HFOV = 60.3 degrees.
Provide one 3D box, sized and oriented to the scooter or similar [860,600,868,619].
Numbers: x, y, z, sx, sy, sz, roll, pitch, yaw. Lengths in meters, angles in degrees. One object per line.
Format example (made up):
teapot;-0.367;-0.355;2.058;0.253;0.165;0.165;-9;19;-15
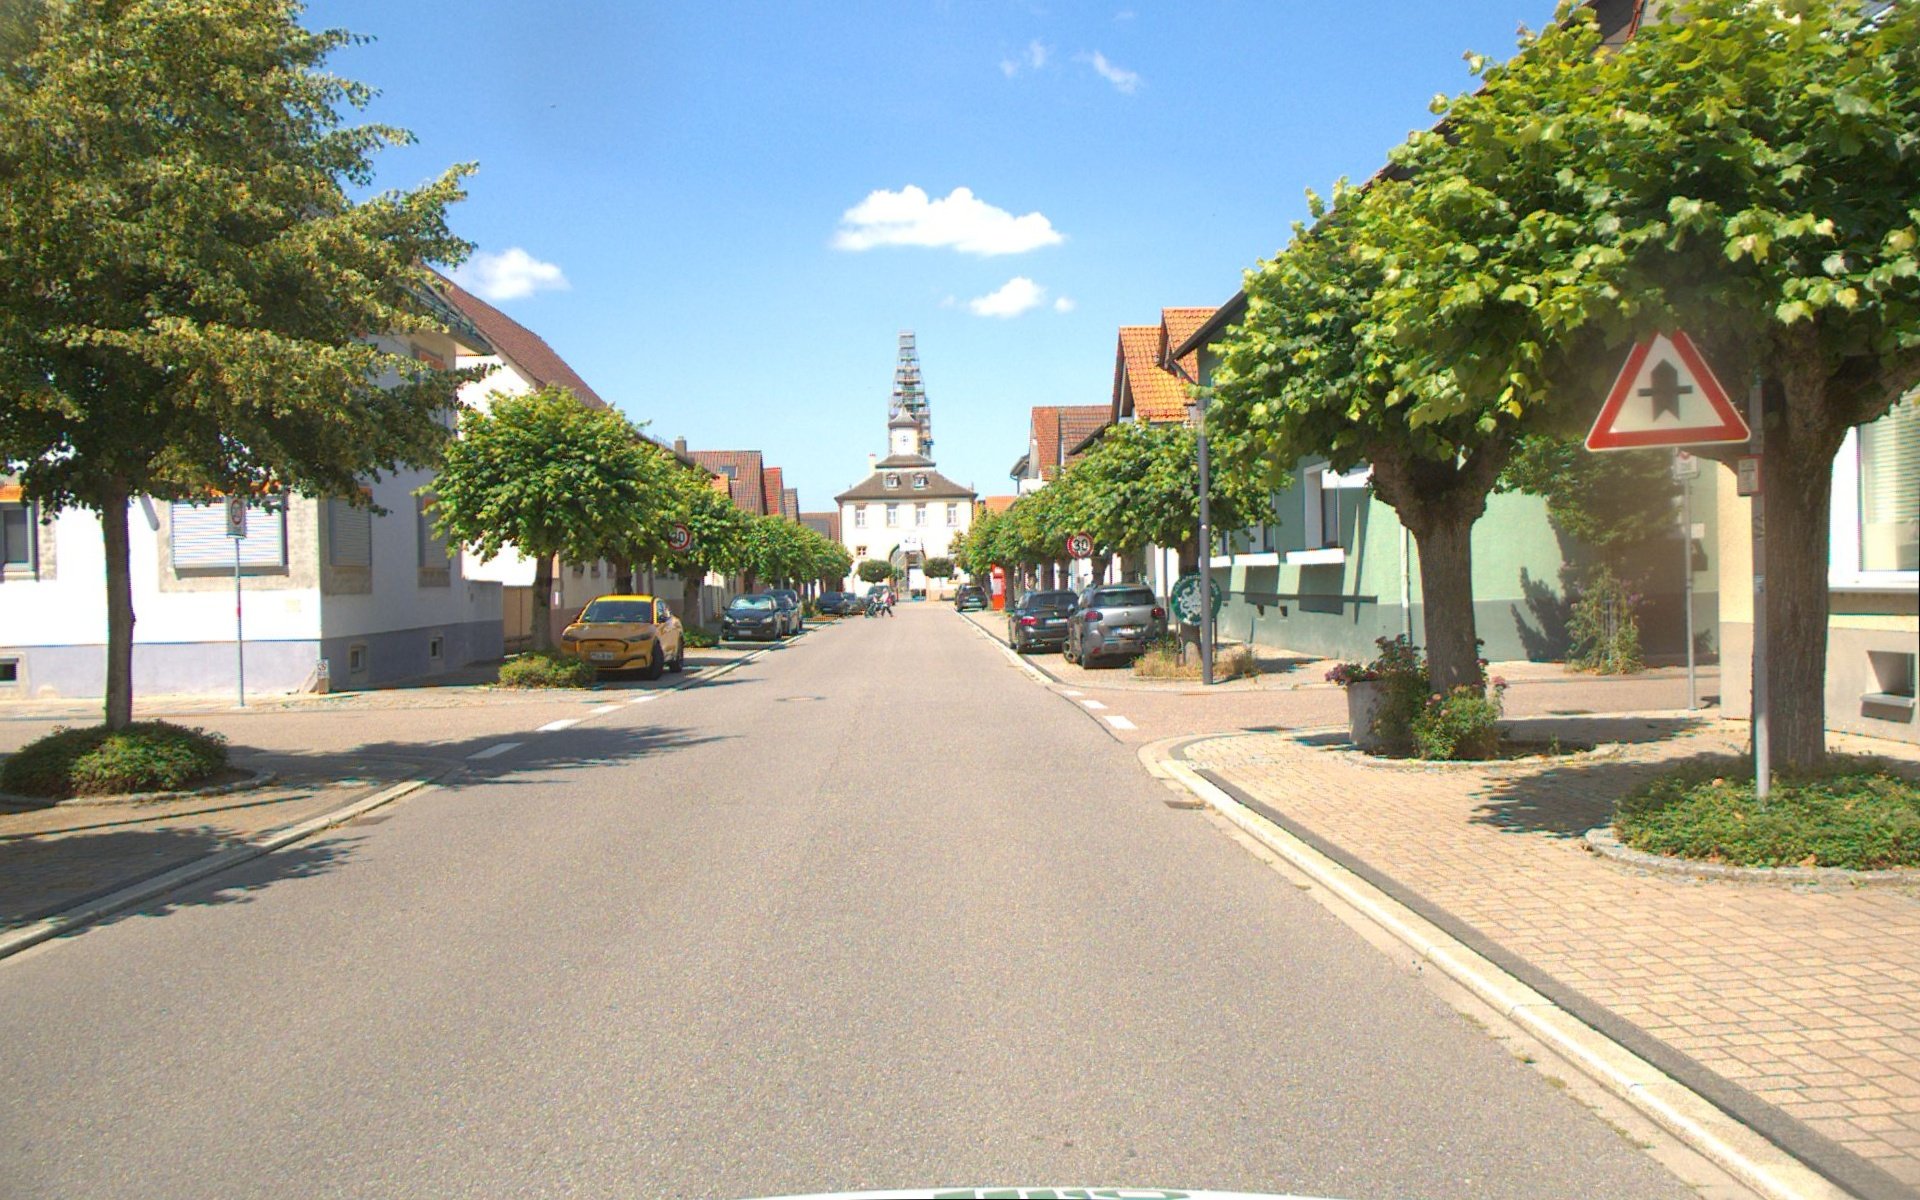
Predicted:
scooter or similar;-5.187;0.534;89.505;0.323;1.020;0.240;-2;0;36

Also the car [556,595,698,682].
car;-6.654;0.717;33.540;1.953;1.639;4.688;0;0;-1

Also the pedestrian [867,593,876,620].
pedestrian;-4.784;0.338;89.389;0.351;1.427;0.319;-2;0;36

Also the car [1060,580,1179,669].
car;3.148;0.454;33.398;1.801;1.636;3.998;-1;0;-3

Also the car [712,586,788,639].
car;-6.906;0.381;54.868;1.953;1.639;4.688;0;1;-1

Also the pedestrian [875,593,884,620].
pedestrian;-4.382;0.343;89.707;0.351;1.427;0.319;-2;0;36

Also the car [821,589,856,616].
car;-7.615;0.189;103.670;1.953;1.639;3.854;0;0;-1

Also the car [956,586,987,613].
car;0.713;-0.029;104.111;1.800;1.582;4.313;-3;0;-1

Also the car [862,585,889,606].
car;-6.820;-0.330;133.132;1.955;1.639;4.500;0;0;-6

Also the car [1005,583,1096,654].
car;2.191;0.417;41.063;1.800;1.582;4.312;-3;0;-2

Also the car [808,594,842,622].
car;-7.961;0.469;97.915;1.722;1.582;4.019;-1;0;-1

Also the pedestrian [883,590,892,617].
pedestrian;-3.899;0.174;88.851;0.351;1.427;0.319;-2;0;36

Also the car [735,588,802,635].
car;-6.958;0.417;60.603;1.953;1.639;4.688;0;0;-1
